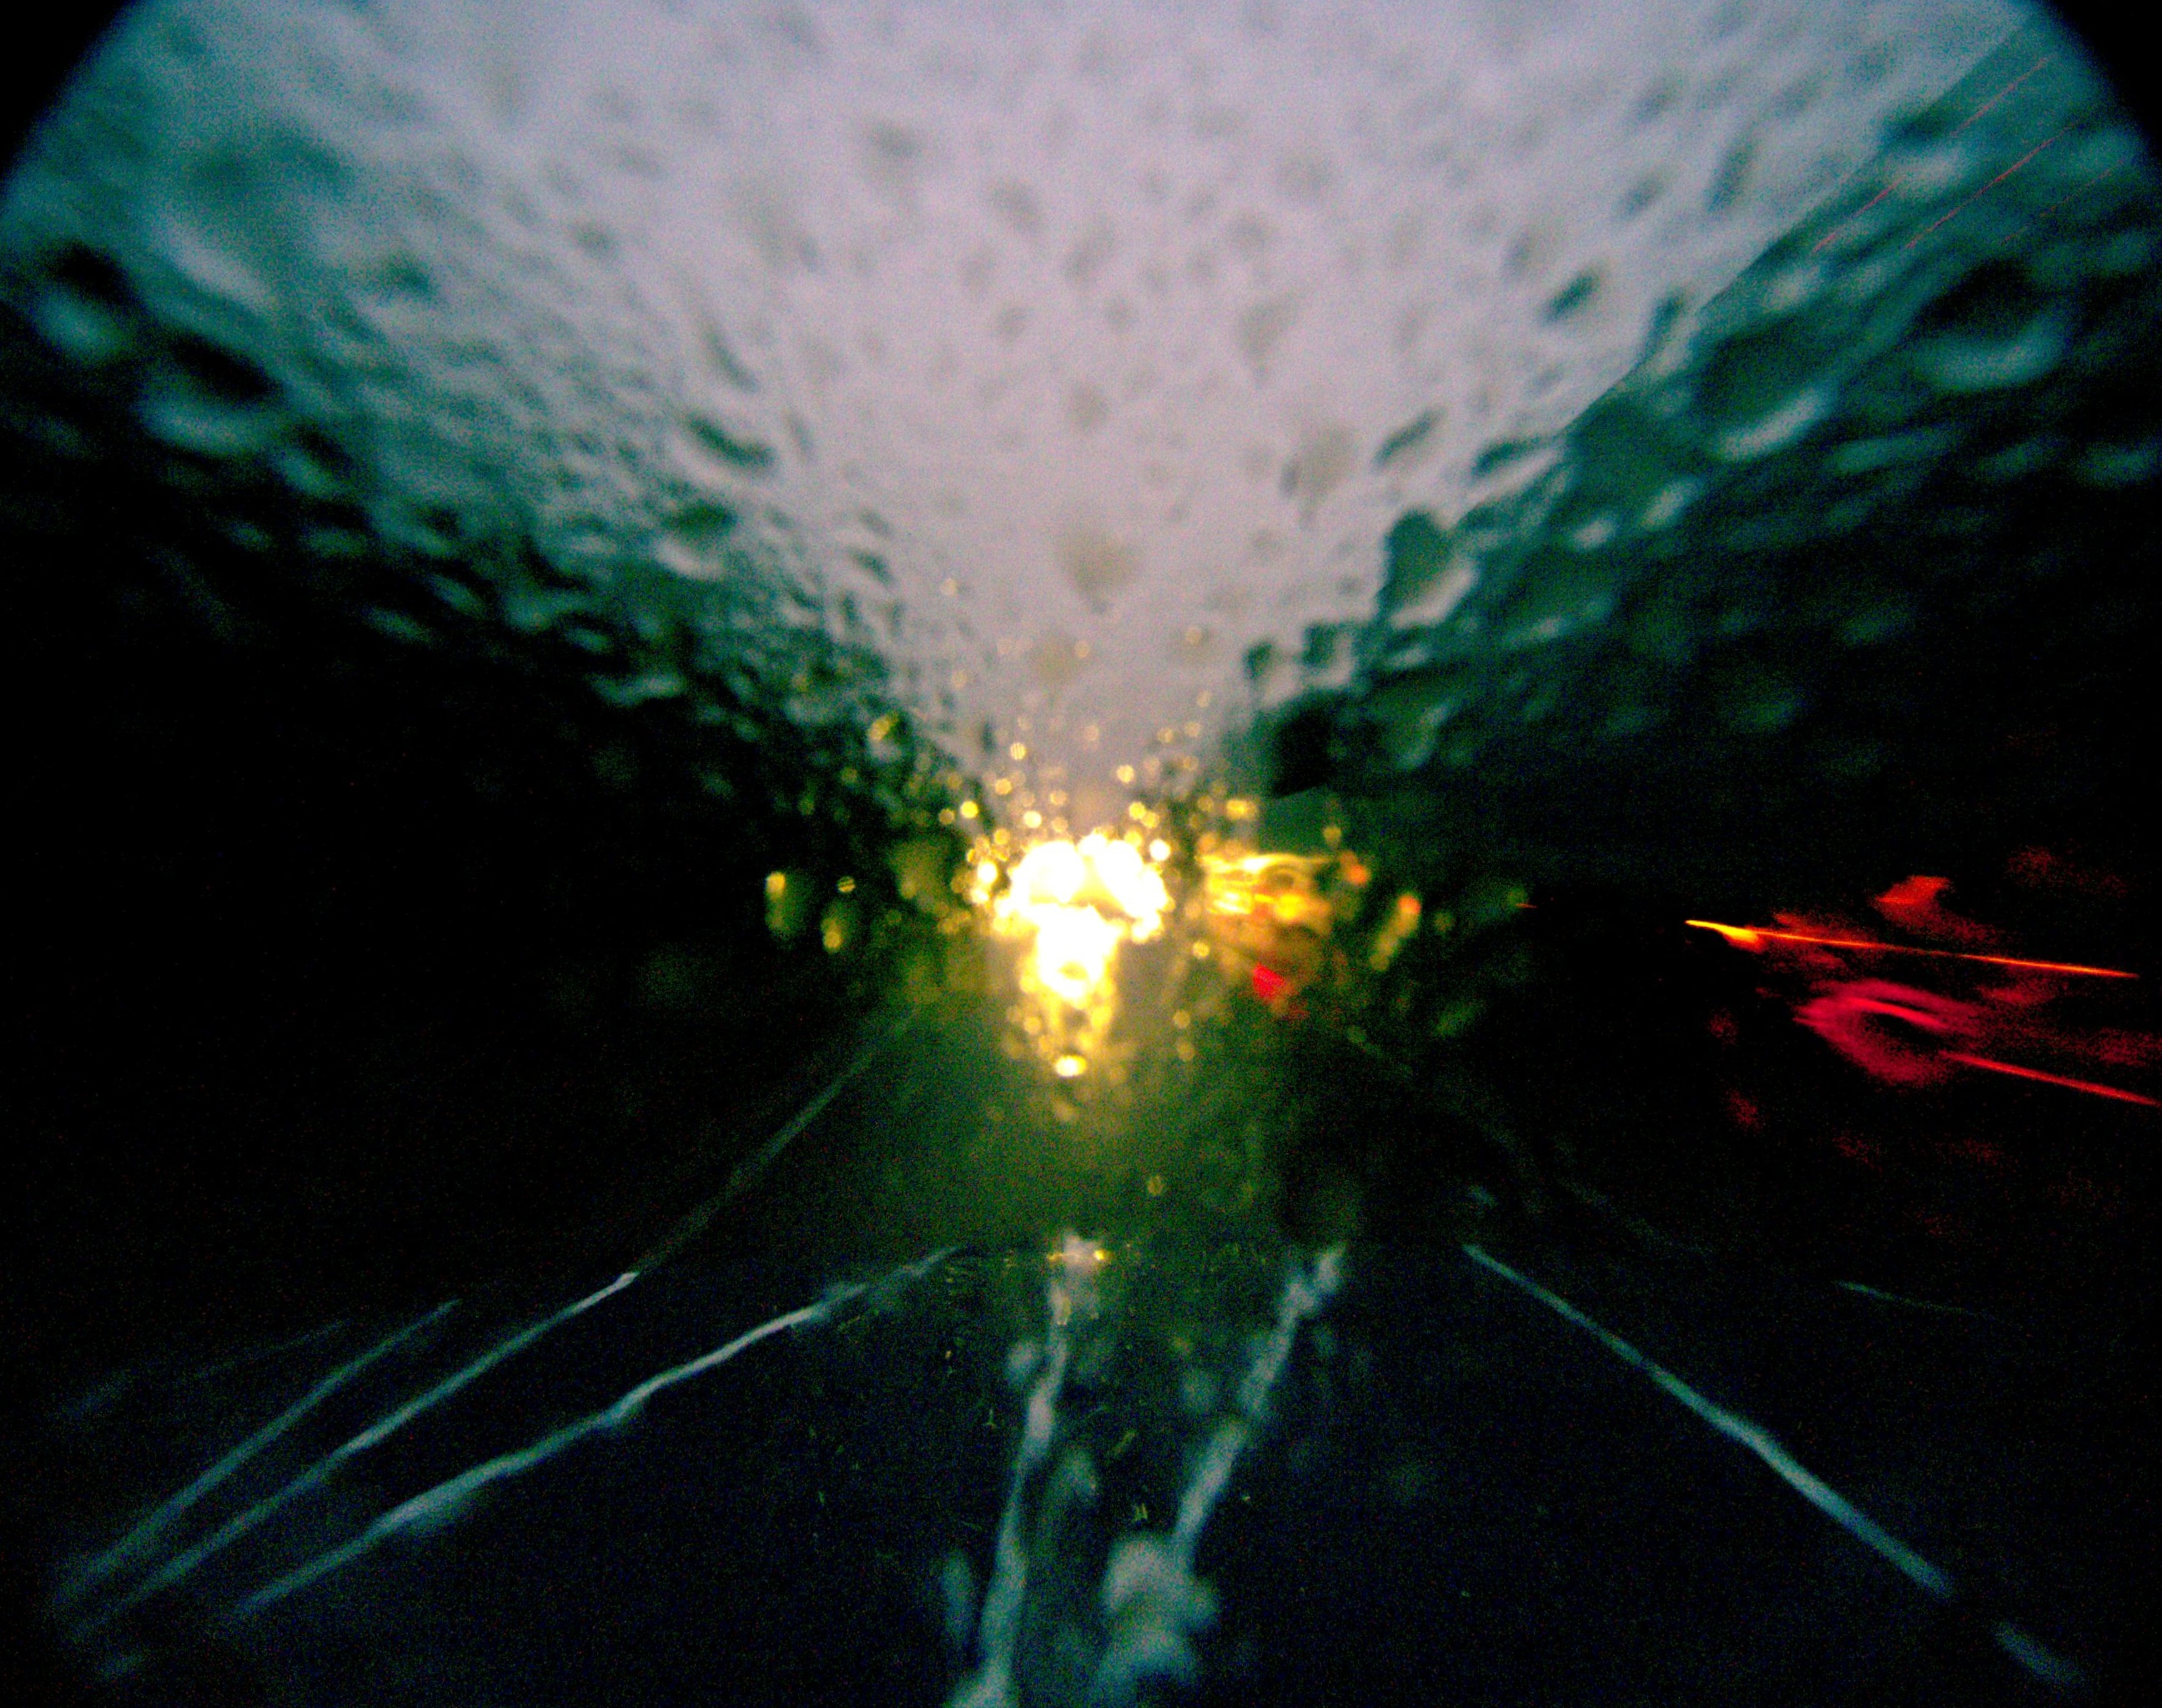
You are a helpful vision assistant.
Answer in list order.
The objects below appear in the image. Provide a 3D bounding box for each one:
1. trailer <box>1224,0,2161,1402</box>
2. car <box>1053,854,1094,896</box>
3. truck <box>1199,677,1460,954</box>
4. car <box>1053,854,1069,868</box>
[{"bbox_3d":[4.270,-0.580,8.764,2.785,4.065,13.516,-1,0,1],"label":"trailer"},{"bbox_3d":[-0.280,0.859,32.715,1.573,1.701,4.000,-1,0,2],"label":"car"},{"bbox_3d":[4.279,-0.571,14.969,2.806,4.102,7.199,-1,0,1],"label":"truck"},{"bbox_3d":[-2.754,0.909,102.800,1.999,1.752,4.370,-3,0,-3],"label":"car"}]
